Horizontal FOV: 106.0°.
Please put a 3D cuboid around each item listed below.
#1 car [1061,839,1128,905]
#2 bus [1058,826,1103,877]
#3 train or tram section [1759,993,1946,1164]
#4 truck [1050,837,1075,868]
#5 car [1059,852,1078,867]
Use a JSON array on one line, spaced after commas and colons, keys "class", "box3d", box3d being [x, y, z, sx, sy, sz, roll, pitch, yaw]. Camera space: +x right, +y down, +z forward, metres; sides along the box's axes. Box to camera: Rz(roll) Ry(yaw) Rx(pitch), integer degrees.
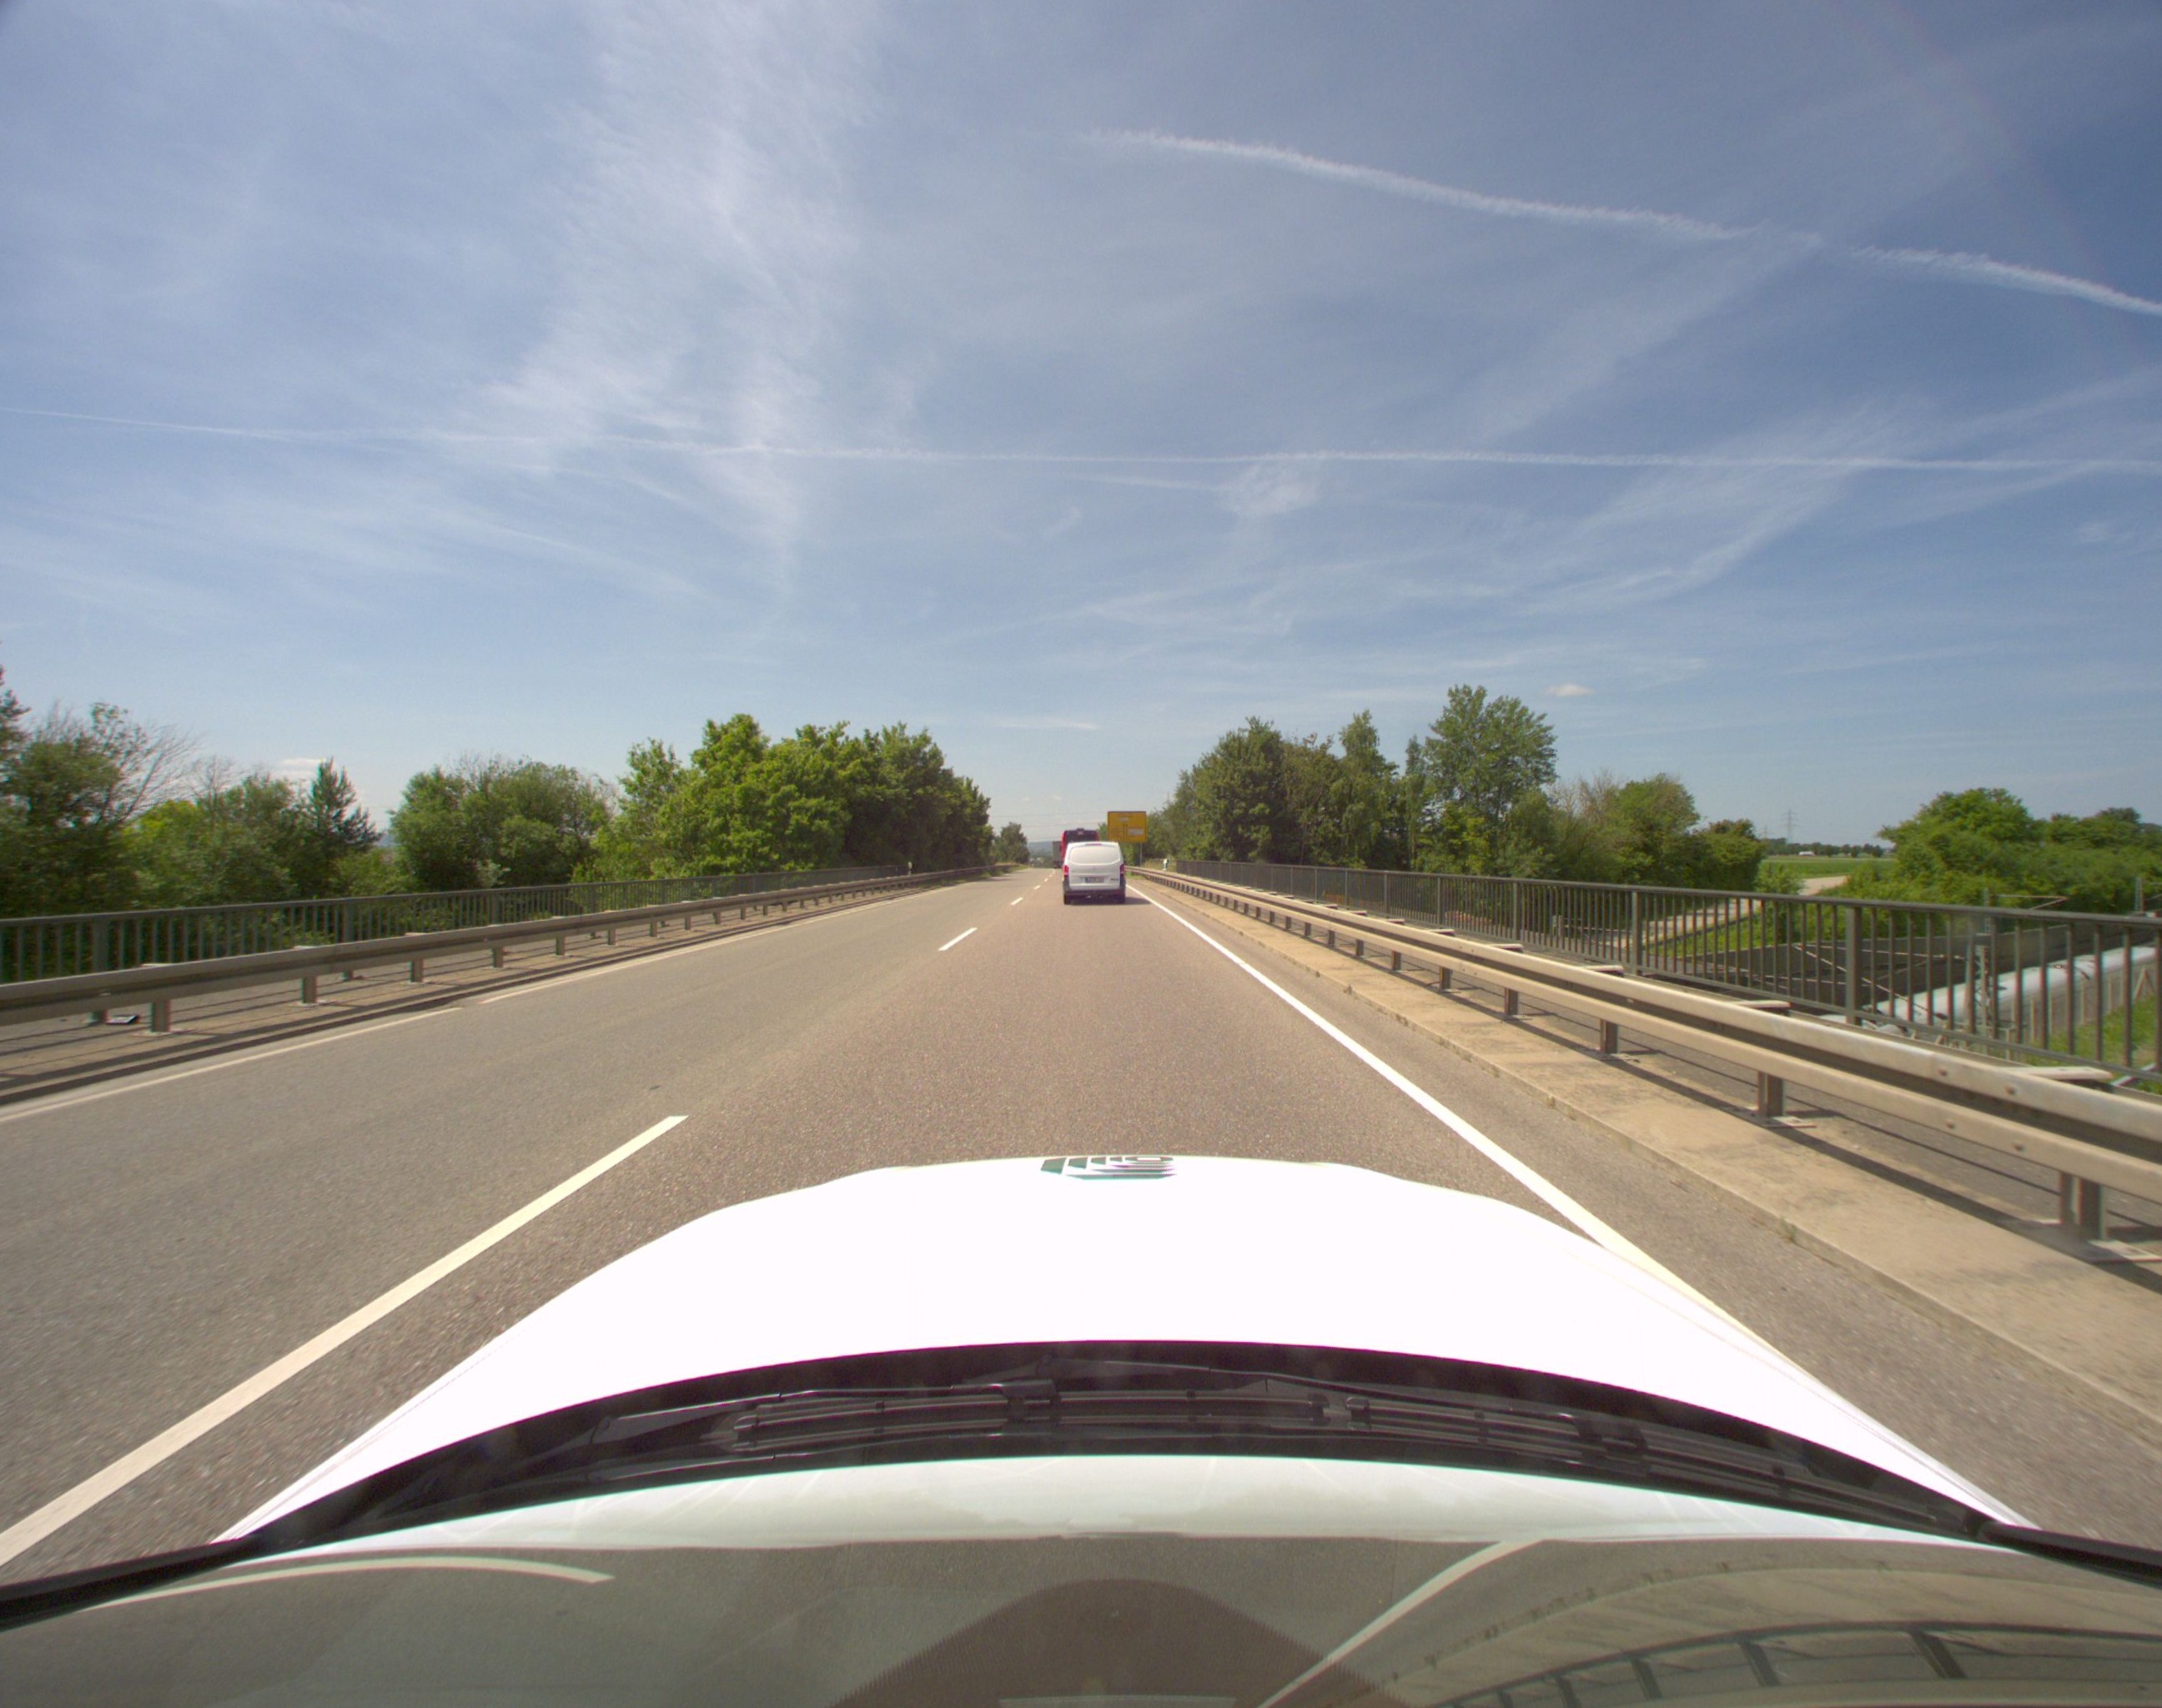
[{"class": "car", "box3d": [0.404, 0.508, 25.613, 1.917, 1.889, 4.000, 0, 0, 0]}, {"class": "bus", "box3d": [-0.204, -0.184, 60.998, 2.740, 3.353, 13.209, -1, 0, -2]}, {"class": "train or tram section", "box3d": [30.147, 8.215, 31.527, 12.498, 4.230, 2.528, 1, 0, -34]}, {"class": "truck", "box3d": [-2.937, -0.238, 125.146, 3.479, 4.423, 14.891, -1, 0, -2]}, {"class": "car", "box3d": [-1.527, 0.700, 101.420, 1.991, 1.816, 3.991, 0, 0, -6]}]
